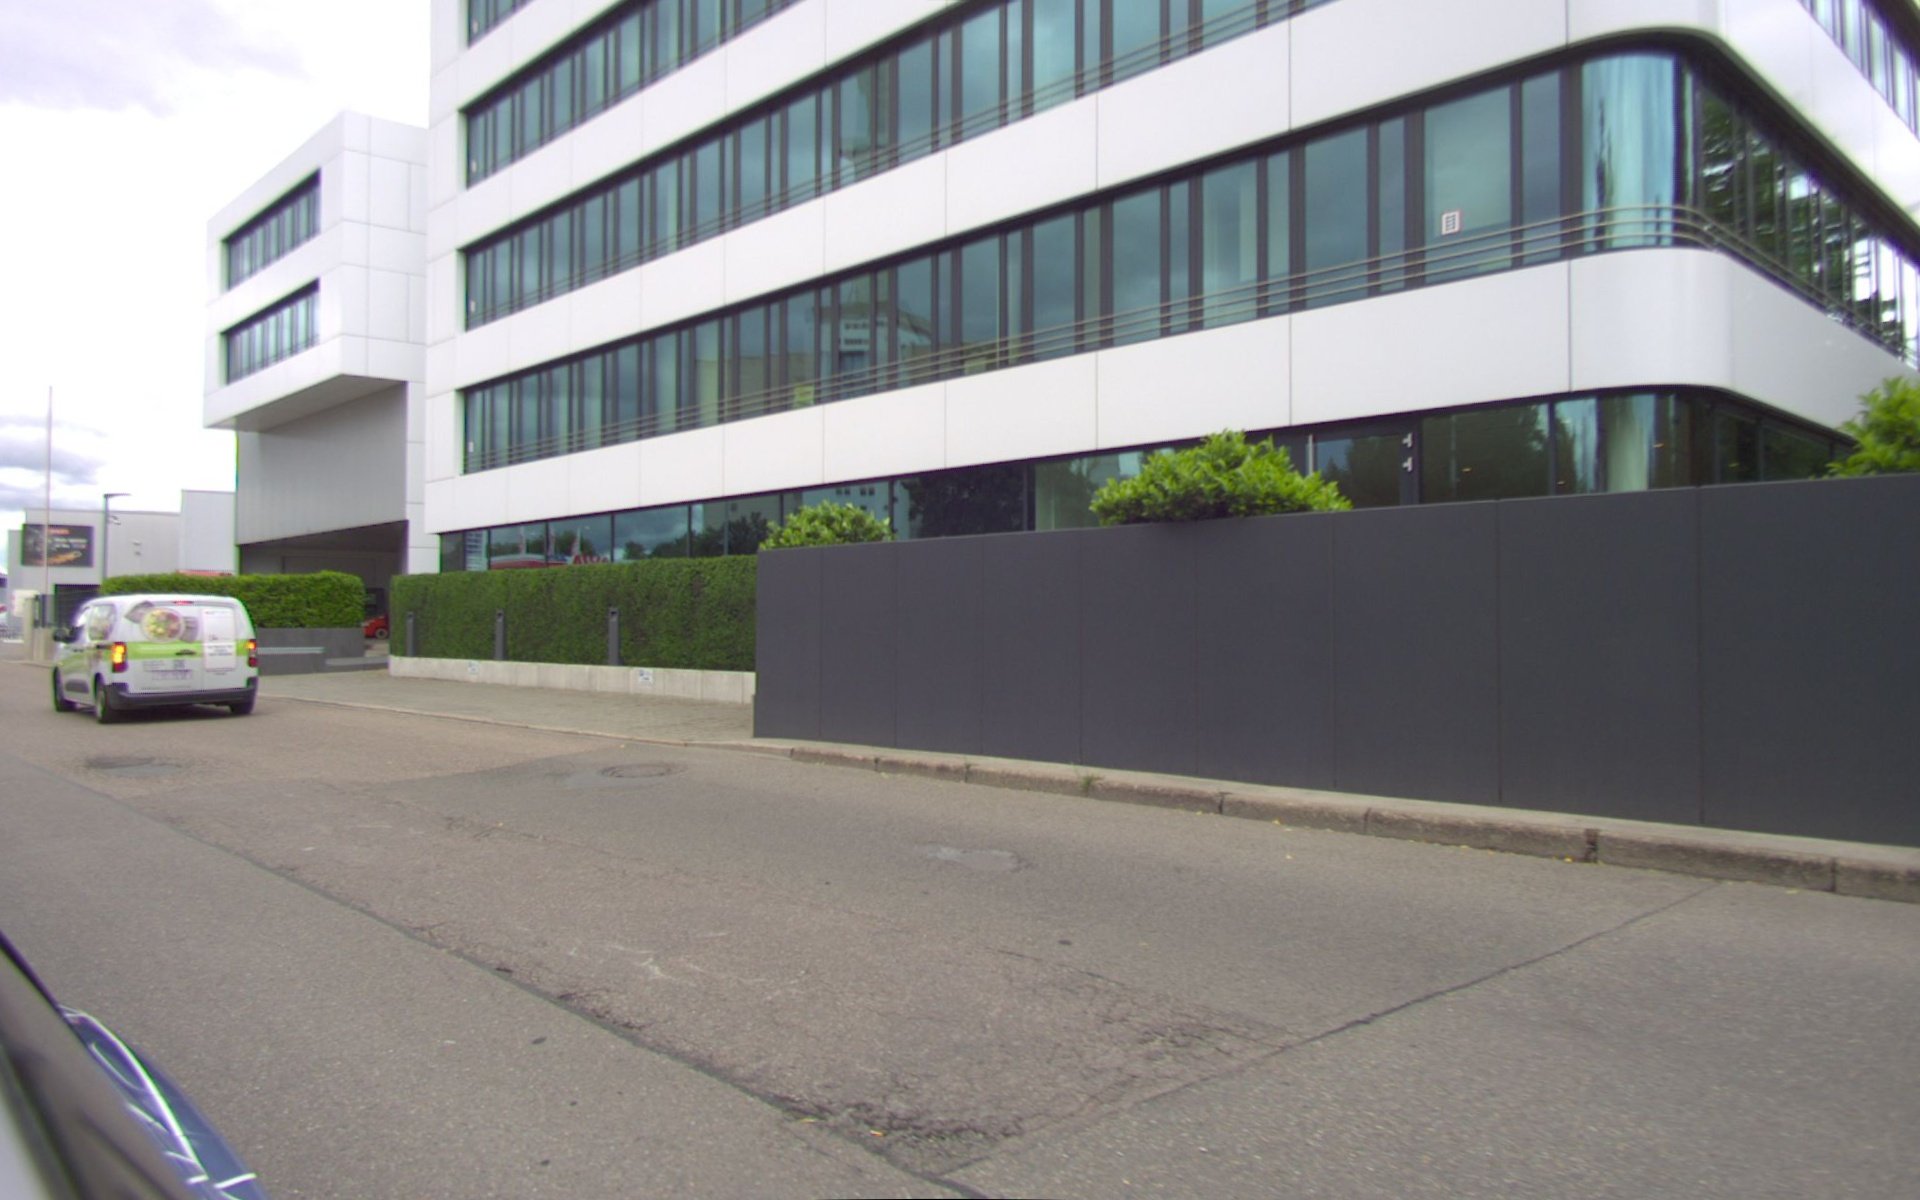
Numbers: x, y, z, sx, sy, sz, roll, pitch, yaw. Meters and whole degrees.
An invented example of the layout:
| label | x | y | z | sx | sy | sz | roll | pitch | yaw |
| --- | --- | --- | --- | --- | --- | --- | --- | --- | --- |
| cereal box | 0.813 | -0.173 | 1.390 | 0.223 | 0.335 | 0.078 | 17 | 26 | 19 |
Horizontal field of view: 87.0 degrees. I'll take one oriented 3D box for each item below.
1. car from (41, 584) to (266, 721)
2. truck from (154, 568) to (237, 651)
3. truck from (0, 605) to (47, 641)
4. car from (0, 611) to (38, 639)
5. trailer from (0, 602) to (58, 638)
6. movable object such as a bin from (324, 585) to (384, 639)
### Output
| label | x | y | z | sx | sy | sz | roll | pitch | yaw |
| --- | --- | --- | --- | --- | --- | --- | --- | --- | --- |
| car | -12.159 | 0.712 | 15.163 | 4.201 | 1.777 | 1.790 | -1 | -1 | 39 |
| truck | -39.946 | 0.545 | 53.101 | 2.704 | 4.062 | 7.113 | 0 | -2 | -31 |
| truck | -113.112 | 2.784 | 121.220 | 4.798 | 4.237 | 3.057 | 3 | -3 | -29 |
| car | -95.421 | 2.522 | 100.573 | 5.343 | 2.751 | 2.247 | -1 | -1 | -33 |
| trailer | -118.602 | 2.368 | 123.755 | 11.845 | 4.164 | 3.056 | 3 | -4 | -33 |
| movable object such as a bin | -26.209 | 0.535 | 43.838 | 2.117 | 2.239 | 1.758 | 1 | -2 | -29 |
